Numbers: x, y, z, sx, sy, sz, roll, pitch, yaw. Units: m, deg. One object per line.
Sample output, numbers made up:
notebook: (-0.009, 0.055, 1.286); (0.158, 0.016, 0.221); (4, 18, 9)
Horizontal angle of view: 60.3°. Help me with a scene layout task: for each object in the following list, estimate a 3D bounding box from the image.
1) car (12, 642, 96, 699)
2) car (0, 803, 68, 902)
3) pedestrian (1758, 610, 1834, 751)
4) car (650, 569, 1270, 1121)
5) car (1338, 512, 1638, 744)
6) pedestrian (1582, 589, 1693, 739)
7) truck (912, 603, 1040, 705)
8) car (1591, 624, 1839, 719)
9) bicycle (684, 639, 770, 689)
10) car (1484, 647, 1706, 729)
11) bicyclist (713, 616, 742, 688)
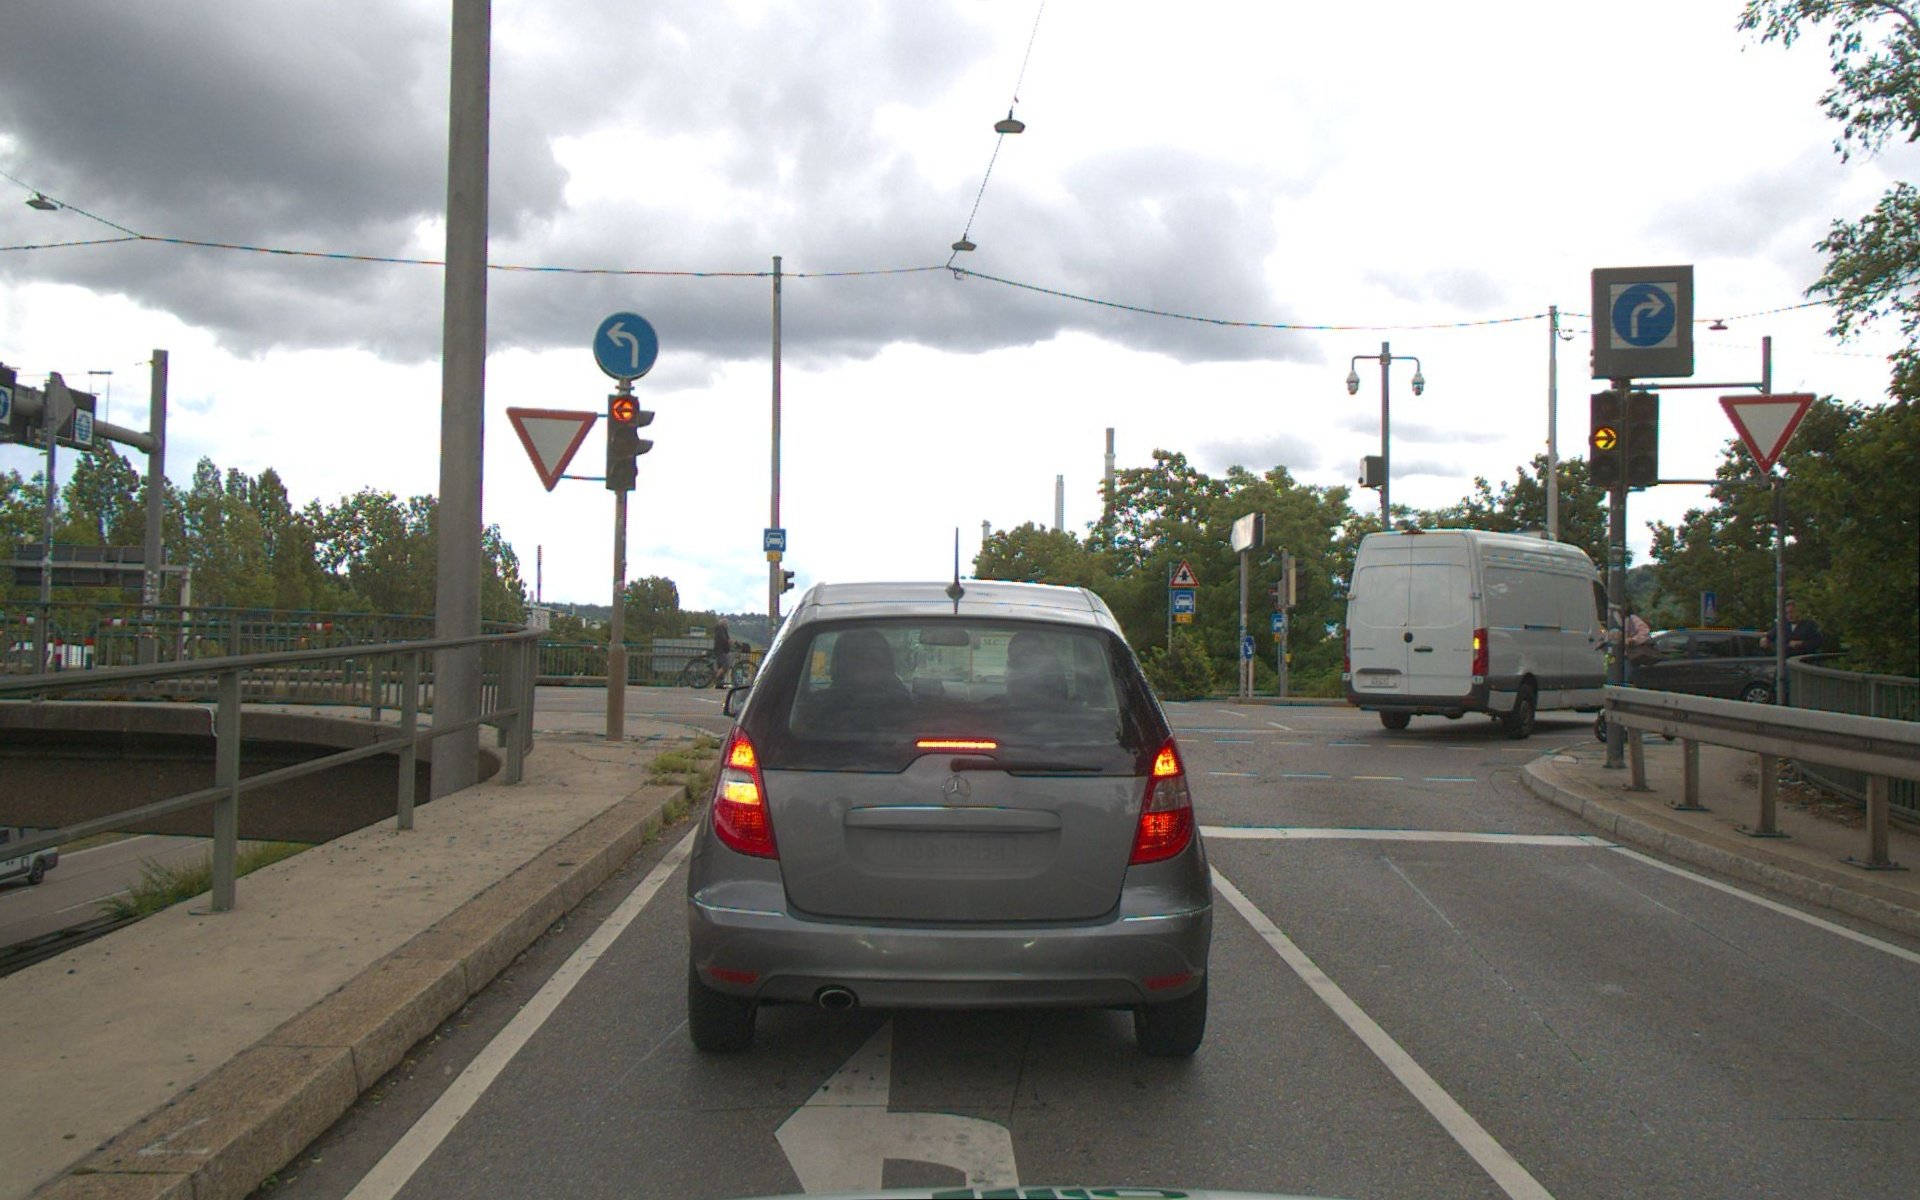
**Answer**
car: (-38.972, 3.005, 71.233); (1.819, 2.254, 3.659); (0, 0, -5)
car: (-29.719, 7.758, 50.312); (2.042, 2.579, 6.323); (0, -2, -4)
pedestrian: (10.156, 0.957, 20.092); (0.768, 1.647, 0.675); (0, 0, 31)
car: (0.044, 0.692, 6.873); (1.819, 1.616, 4.001); (0, 1, 1)
car: (7.699, 0.318, 23.513); (2.075, 2.832, 6.754); (0, 0, 36)
pedestrian: (7.894, 0.751, 19.317); (0.816, 1.707, 0.978); (0, -3, -4)
truck: (0.449, 1.981, 65.192); (2.741, 3.580, 10.213); (0, 0, -13)
car: (14.331, 1.344, 31.551); (3.904, 1.694, 1.813); (0, 0, 2)
bicycle: (-5.634, 1.539, 39.934); (1.996, 1.144, 0.927); (0, 0, -12)
car: (16.018, 2.169, 41.776); (5.118, 1.802, 2.004); (0, 0, 24)
bicyclist: (-5.621, 1.248, 39.948); (0.641, 1.703, 0.867); (0, 0, -11)
